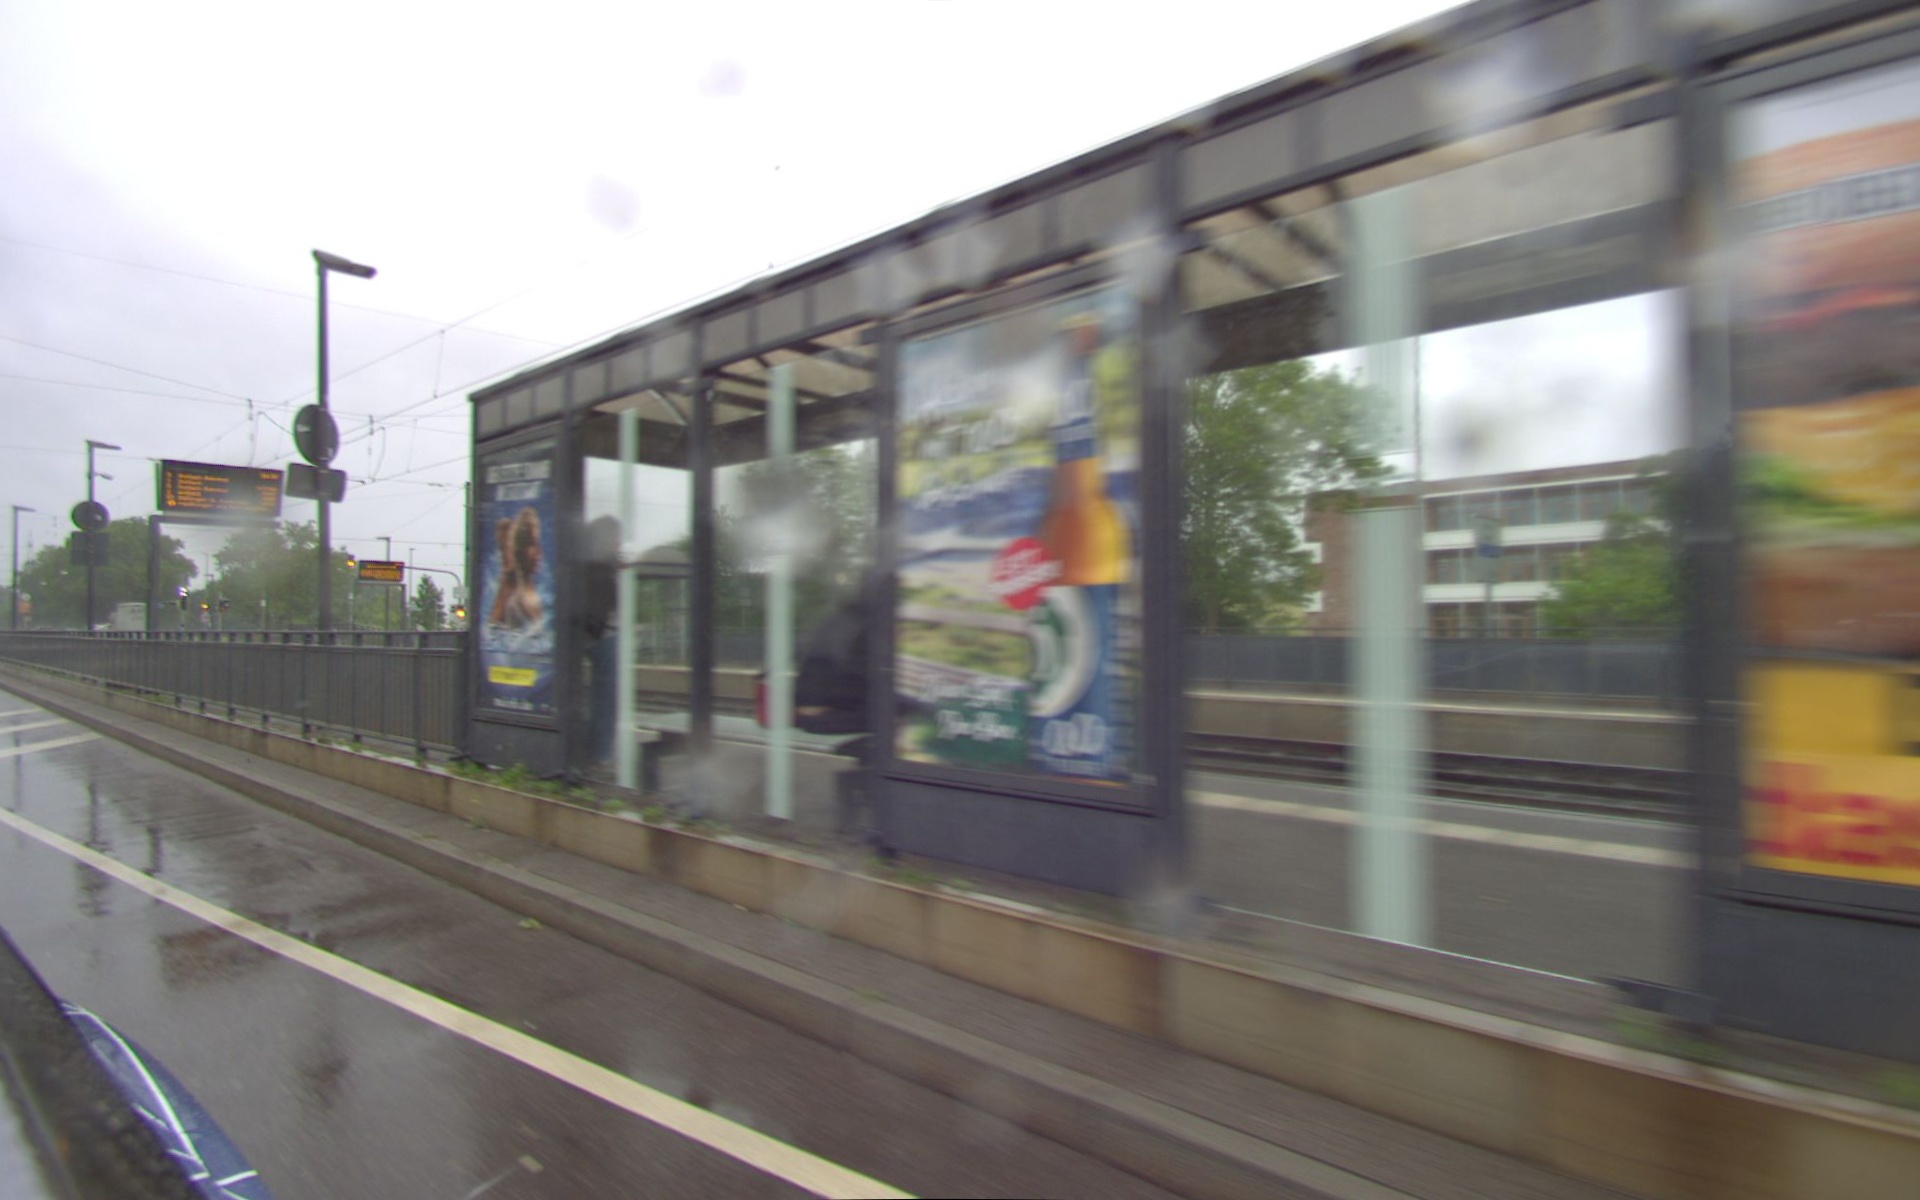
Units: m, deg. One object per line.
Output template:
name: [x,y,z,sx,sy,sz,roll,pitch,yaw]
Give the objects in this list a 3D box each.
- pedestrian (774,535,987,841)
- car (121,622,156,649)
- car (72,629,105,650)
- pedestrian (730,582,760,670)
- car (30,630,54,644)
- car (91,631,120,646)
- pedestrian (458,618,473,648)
pedestrian: [-0.385,0.396,5.004,0.659,1.350,0.805,-2,-2,42]
car: [-86.756,3.756,106.868,5.738,2.733,2.097,-2,-2,43]
car: [-88.700,3.981,102.989,4.752,2.029,1.972,-2,-2,42]
pedestrian: [-10.102,1.215,47.438,1.152,4.059,1.524,0,-1,-20]
car: [-119.433,4.789,131.601,4.257,1.785,1.972,-2,-2,43]
car: [-99.233,4.443,117.513,4.624,1.720,1.972,-2,-2,43]
pedestrian: [-33.255,2.206,68.047,0.697,2.029,0.691,-2,-2,43]
